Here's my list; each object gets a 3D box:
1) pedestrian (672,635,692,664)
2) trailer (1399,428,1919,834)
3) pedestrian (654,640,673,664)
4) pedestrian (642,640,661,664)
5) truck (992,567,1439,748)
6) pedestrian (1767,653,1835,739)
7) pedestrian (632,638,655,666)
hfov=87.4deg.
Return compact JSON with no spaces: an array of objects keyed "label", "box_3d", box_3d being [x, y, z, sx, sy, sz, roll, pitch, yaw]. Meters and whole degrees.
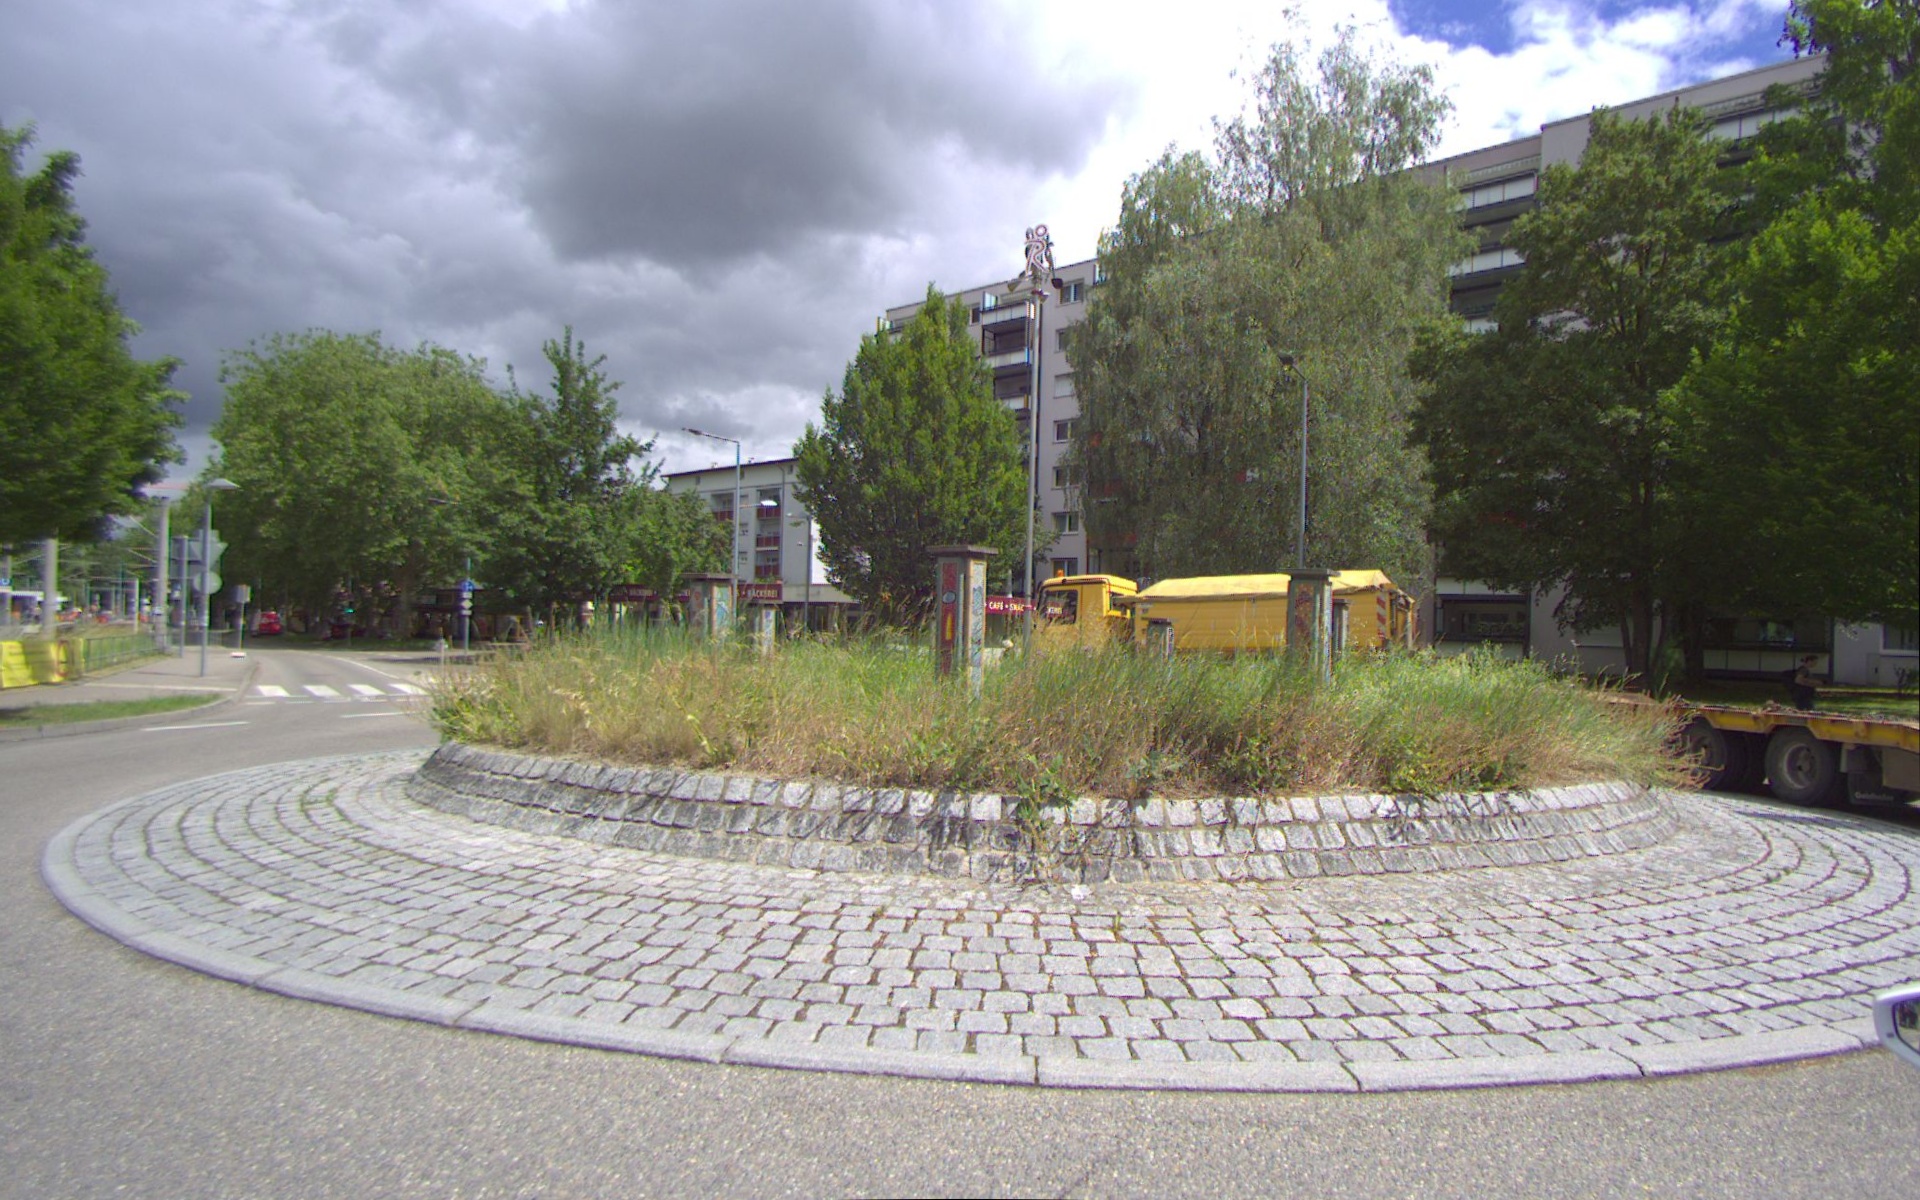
[{"label":"pedestrian","box_3d":[-13.790,2.436,49.784,0.715,1.399,0.690,1,-2,-44]},{"label":"trailer","box_3d":[9.517,0.248,13.028,2.816,3.417,10.840,1,1,0]},{"label":"pedestrian","box_3d":[-14.896,2.615,50.512,0.713,1.217,0.691,1,-2,-37]},{"label":"pedestrian","box_3d":[-15.433,2.595,50.220,0.713,1.217,0.691,1,-2,-37]},{"label":"truck","box_3d":[5.020,1.003,20.546,8.339,3.075,2.990,0,-1,33]},{"label":"pedestrian","box_3d":[16.263,1.841,19.444,0.826,1.599,0.720,-3,-3,30]},{"label":"pedestrian","box_3d":[-15.480,2.524,49.091,0.874,1.342,0.603,1,-2,-42]}]
